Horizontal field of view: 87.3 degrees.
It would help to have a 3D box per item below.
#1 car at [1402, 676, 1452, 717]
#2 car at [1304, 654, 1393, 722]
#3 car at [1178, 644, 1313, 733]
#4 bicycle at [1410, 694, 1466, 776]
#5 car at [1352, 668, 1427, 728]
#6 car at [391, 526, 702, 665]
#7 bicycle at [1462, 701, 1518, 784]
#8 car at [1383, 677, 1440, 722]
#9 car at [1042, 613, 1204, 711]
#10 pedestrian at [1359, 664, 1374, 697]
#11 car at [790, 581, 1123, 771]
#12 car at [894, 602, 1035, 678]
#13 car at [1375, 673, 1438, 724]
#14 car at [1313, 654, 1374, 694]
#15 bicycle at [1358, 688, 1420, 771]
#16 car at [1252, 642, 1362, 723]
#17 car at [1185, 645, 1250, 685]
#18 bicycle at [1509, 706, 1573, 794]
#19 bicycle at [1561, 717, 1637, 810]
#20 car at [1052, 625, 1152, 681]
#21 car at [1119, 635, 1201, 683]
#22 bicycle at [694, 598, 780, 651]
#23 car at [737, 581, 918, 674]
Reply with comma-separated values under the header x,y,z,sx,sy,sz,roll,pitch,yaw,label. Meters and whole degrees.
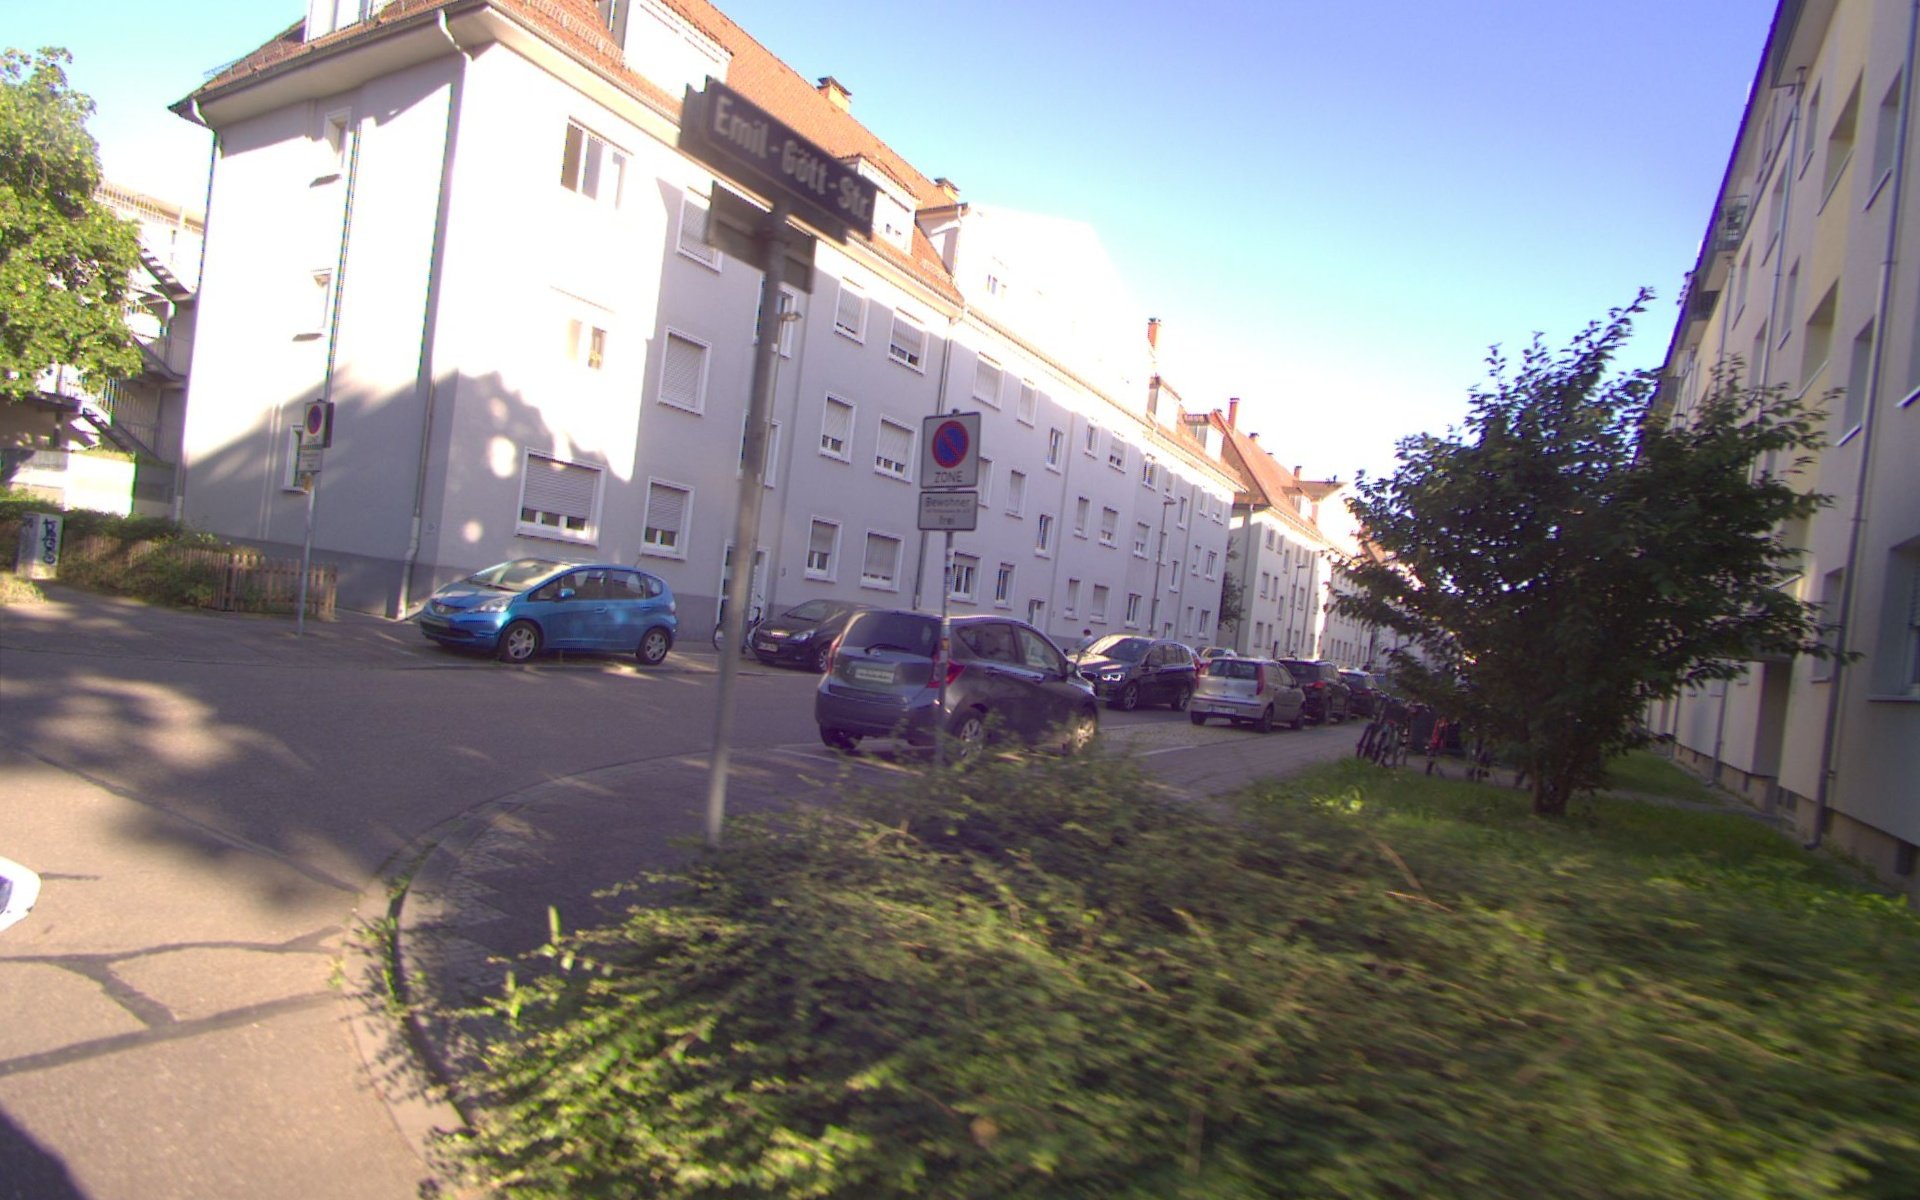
x,y,z,sx,sy,sz,roll,pitch,yaw,label
23.510,4.835,50.580,1.866,1.687,3.772,8,0,29,car
11.941,2.685,30.799,1.866,1.687,3.772,8,0,29,car
6.140,1.897,21.397,1.721,1.511,3.497,7,-1,32,car
6.592,1.820,13.825,0.536,0.971,1.975,7,-1,28,bicycle
15.108,3.410,35.295,1.866,1.687,3.772,8,0,29,car
-6.056,0.028,15.235,1.778,1.600,3.995,8,0,28,car
7.266,1.913,13.819,0.536,0.971,1.975,7,-1,28,bicycle
20.650,4.503,45.951,1.866,1.687,3.772,8,0,29,car
3.756,1.451,22.629,1.742,1.692,4.270,7,-3,35,car
26.003,5.154,64.391,0.545,2.037,0.809,7,0,30,pedestrian
0.188,0.832,10.873,1.698,1.531,4.050,5,-3,30,car
0.202,1.073,25.987,1.705,1.515,4.022,7,-2,31,car
18.353,3.999,41.253,1.866,1.687,3.772,8,0,29,car
16.747,3.236,43.872,1.721,1.407,3.497,7,-2,32,car
5.868,1.729,13.706,0.536,0.971,1.906,7,-1,28,bicycle
8.893,2.100,25.619,1.866,1.687,3.772,7,-1,29,car
11.330,2.867,44.143,1.684,1.367,4.018,7,-2,29,car
7.656,1.942,13.313,0.536,0.971,1.975,7,-1,28,bicycle
8.025,2.014,12.689,0.536,0.971,1.975,7,-1,28,bicycle
4.460,1.679,31.144,1.684,1.367,3.796,7,-2,29,car
7.794,2.307,38.926,1.676,1.420,3.994,7,-2,33,car
-4.711,0.535,21.371,0.475,0.936,1.968,8,-1,30,bicycle
-2.682,0.626,21.153,1.620,1.515,3.832,7,-1,31,car
